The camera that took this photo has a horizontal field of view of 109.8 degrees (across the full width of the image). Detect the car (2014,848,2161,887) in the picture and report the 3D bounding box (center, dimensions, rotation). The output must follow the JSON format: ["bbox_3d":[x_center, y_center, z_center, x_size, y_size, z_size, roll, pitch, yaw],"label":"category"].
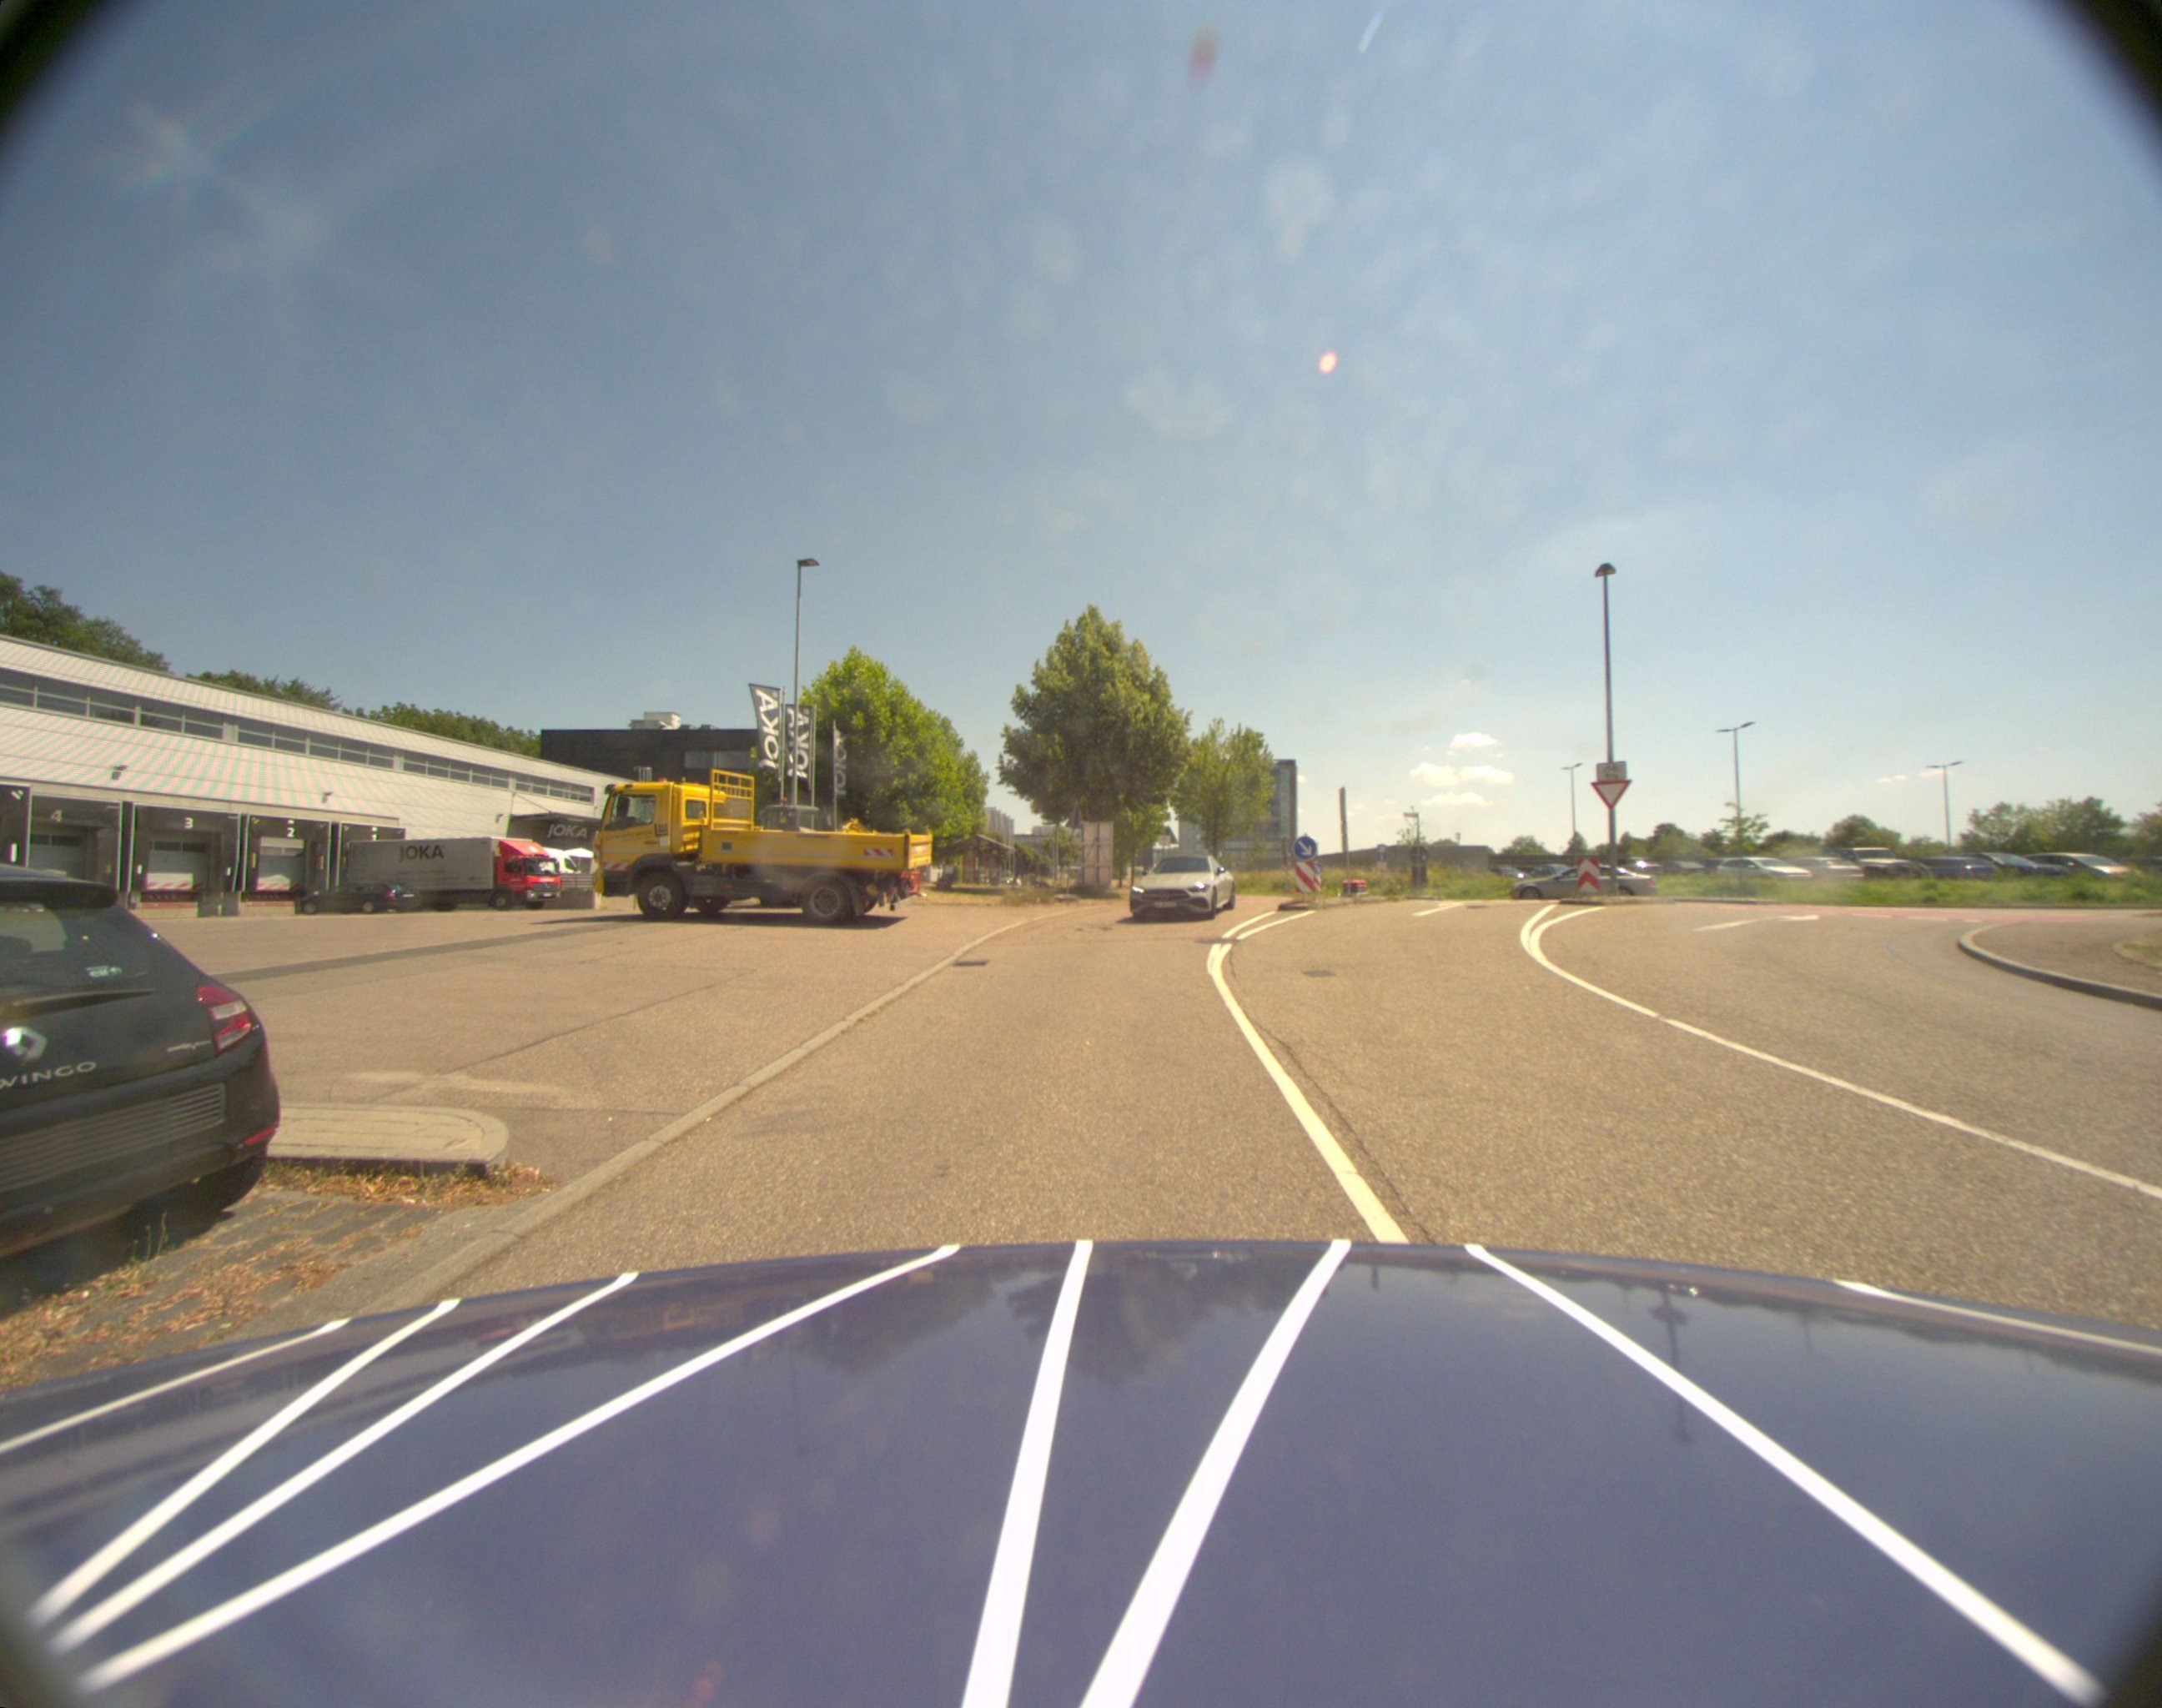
[{"bbox_3d":[44.480,0.607,33.634,1.616,1.614,3.850,0,-1,0],"label":"car"}]

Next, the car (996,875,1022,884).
[{"bbox_3d":[-10.960,3.875,115.741,3.889,1.266,1.706,0,-1,2],"label":"car"}]

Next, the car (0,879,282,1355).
[{"bbox_3d":[-5.237,0.815,2.464,3.668,1.454,1.627,1,0,3],"label":"car"}]

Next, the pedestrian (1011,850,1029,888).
[{"bbox_3d":[-2.794,0.695,34.817,0.578,1.659,0.532,-3,-4,30],"label":"pedestrian"}]

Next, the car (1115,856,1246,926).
[{"bbox_3d":[2.563,0.817,18.352,1.894,1.375,4.640,-3,-1,23],"label":"car"}]

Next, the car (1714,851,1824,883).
[{"bbox_3d":[31.139,0.623,34.529,1.573,1.289,3.881,-2,-3,3],"label":"car"}]

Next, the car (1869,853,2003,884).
[{"bbox_3d":[38.745,0.699,34.579,1.584,1.249,3.949,-2,-3,0],"label":"car"}]

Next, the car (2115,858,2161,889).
[{"bbox_3d":[48.102,0.770,32.647,1.907,1.283,4.004,-1,-4,4],"label":"car"}]

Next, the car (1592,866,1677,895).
[{"bbox_3d":[32.984,1.628,45.480,1.776,1.679,4.607,1,-3,1],"label":"car"}]

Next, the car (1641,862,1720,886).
[{"bbox_3d":[35.298,1.160,44.880,1.651,1.354,3.850,-1,-1,1],"label":"car"}]

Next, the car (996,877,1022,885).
[{"bbox_3d":[-11.208,4.237,118.165,3.889,1.266,1.706,0,-1,2],"label":"car"}]

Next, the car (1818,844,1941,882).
[{"bbox_3d":[36.340,0.455,34.723,1.874,1.517,3.752,-2,-3,7],"label":"car"}]

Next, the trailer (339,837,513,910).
[{"bbox_3d":[-32.441,1.019,37.785,6.706,3.436,2.179,-1,-4,1],"label":"trailer"}]

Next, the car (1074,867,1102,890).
[{"bbox_3d":[0.521,1.848,55.627,1.677,1.495,3.577,-1,-4,6],"label":"car"}]

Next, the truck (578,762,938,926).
[{"bbox_3d":[-6.457,-0.195,15.956,6.420,3.118,2.595,0,1,-1],"label":"truck"}]

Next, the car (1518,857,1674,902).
[{"bbox_3d":[18.506,0.969,27.506,4.486,1.365,1.678,-4,-6,33],"label":"car"}]

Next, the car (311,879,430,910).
[{"bbox_3d":[-32.498,1.878,34.837,3.791,1.393,1.809,0,-3,3],"label":"car"}]

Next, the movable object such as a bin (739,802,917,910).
[{"bbox_3d":[-6.781,0.047,21.470,1.997,2.566,6.582,-1,0,8],"label":"movable object such as a bin"}]

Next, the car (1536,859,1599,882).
[{"bbox_3d":[32.380,1.119,50.640,1.652,1.437,3.639,0,-2,-5],"label":"car"}]

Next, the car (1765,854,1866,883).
[{"bbox_3d":[33.542,0.682,34.820,1.500,1.174,3.273,-2,-3,2],"label":"car"}]

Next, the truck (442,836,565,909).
[{"bbox_3d":[-28.599,0.948,37.762,4.342,3.429,2.159,-1,-4,0],"label":"truck"}]
